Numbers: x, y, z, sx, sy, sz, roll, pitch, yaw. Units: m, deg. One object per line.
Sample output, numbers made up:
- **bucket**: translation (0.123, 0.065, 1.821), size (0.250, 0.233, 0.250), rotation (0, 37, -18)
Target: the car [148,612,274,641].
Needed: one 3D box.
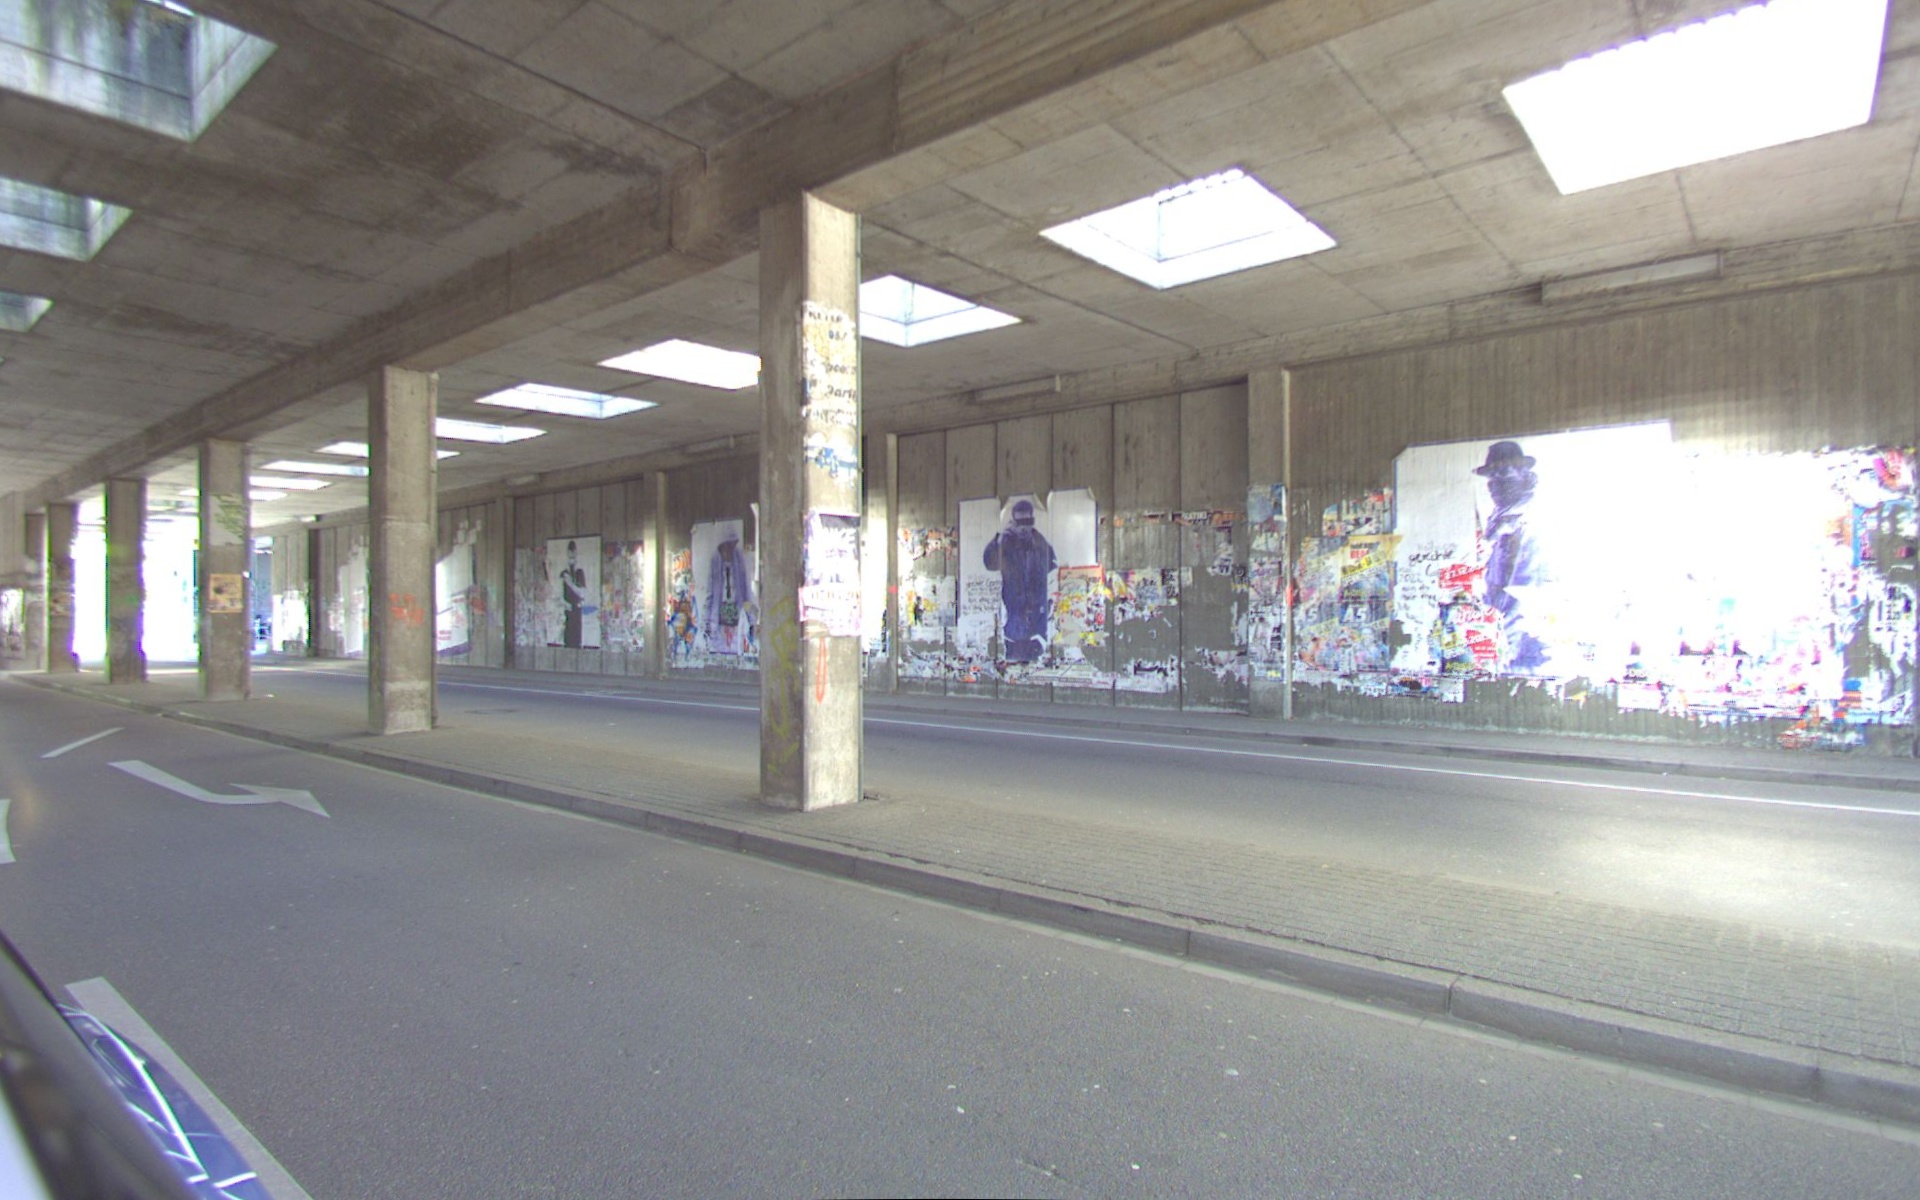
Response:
- **car**: translation (-49.386, 1.704, 66.857), size (2.001, 1.763, 6.446), rotation (-1, 0, 44)
